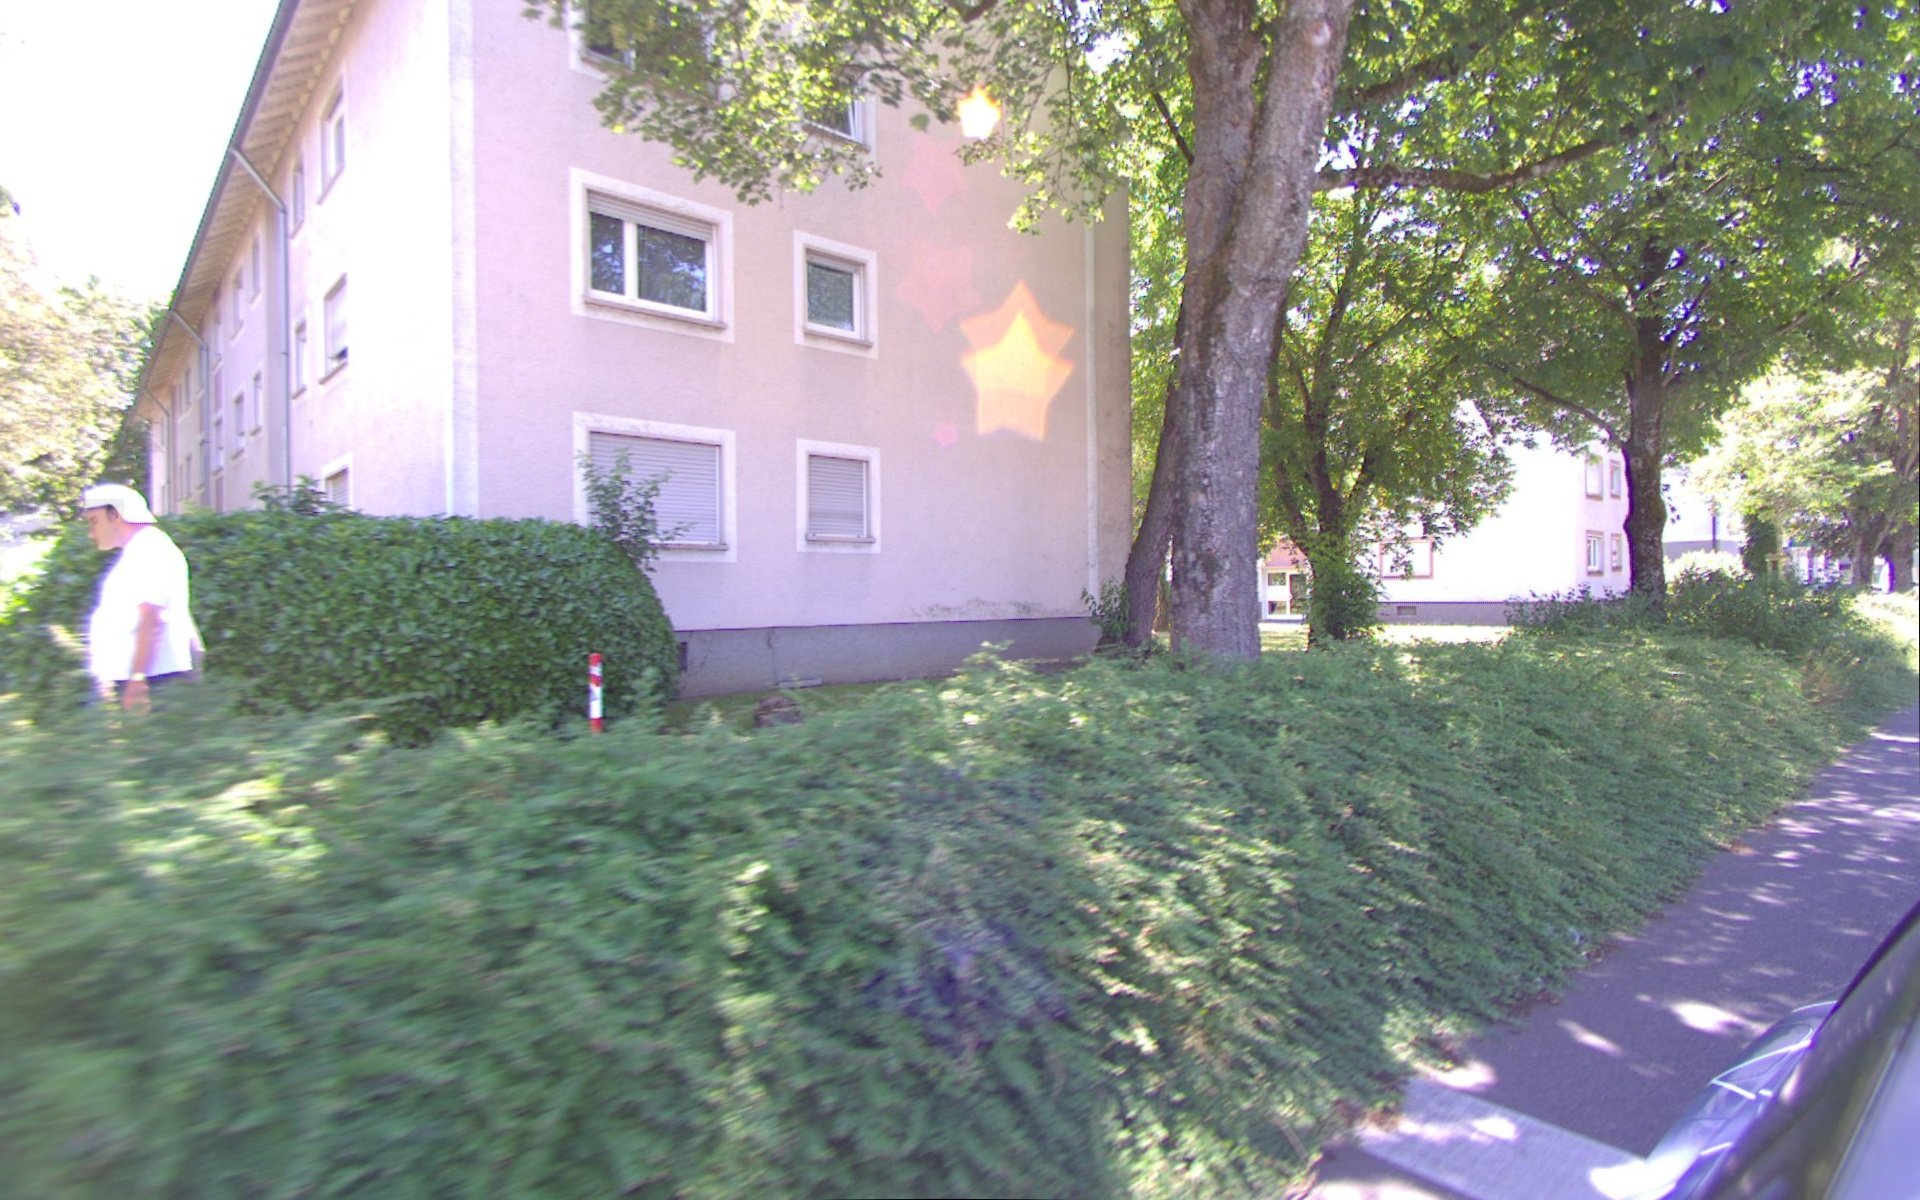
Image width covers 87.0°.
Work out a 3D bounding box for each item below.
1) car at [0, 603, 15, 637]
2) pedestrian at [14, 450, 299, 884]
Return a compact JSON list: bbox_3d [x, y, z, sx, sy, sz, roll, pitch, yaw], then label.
[{"bbox_3d":[-48.911,1.036,49.350,4.073,1.647,1.685,-1,1,-42],"label":"car"},{"bbox_3d":[-3.925,0.288,4.981,0.668,1.897,0.894,-1,0,30],"label":"pedestrian"}]
